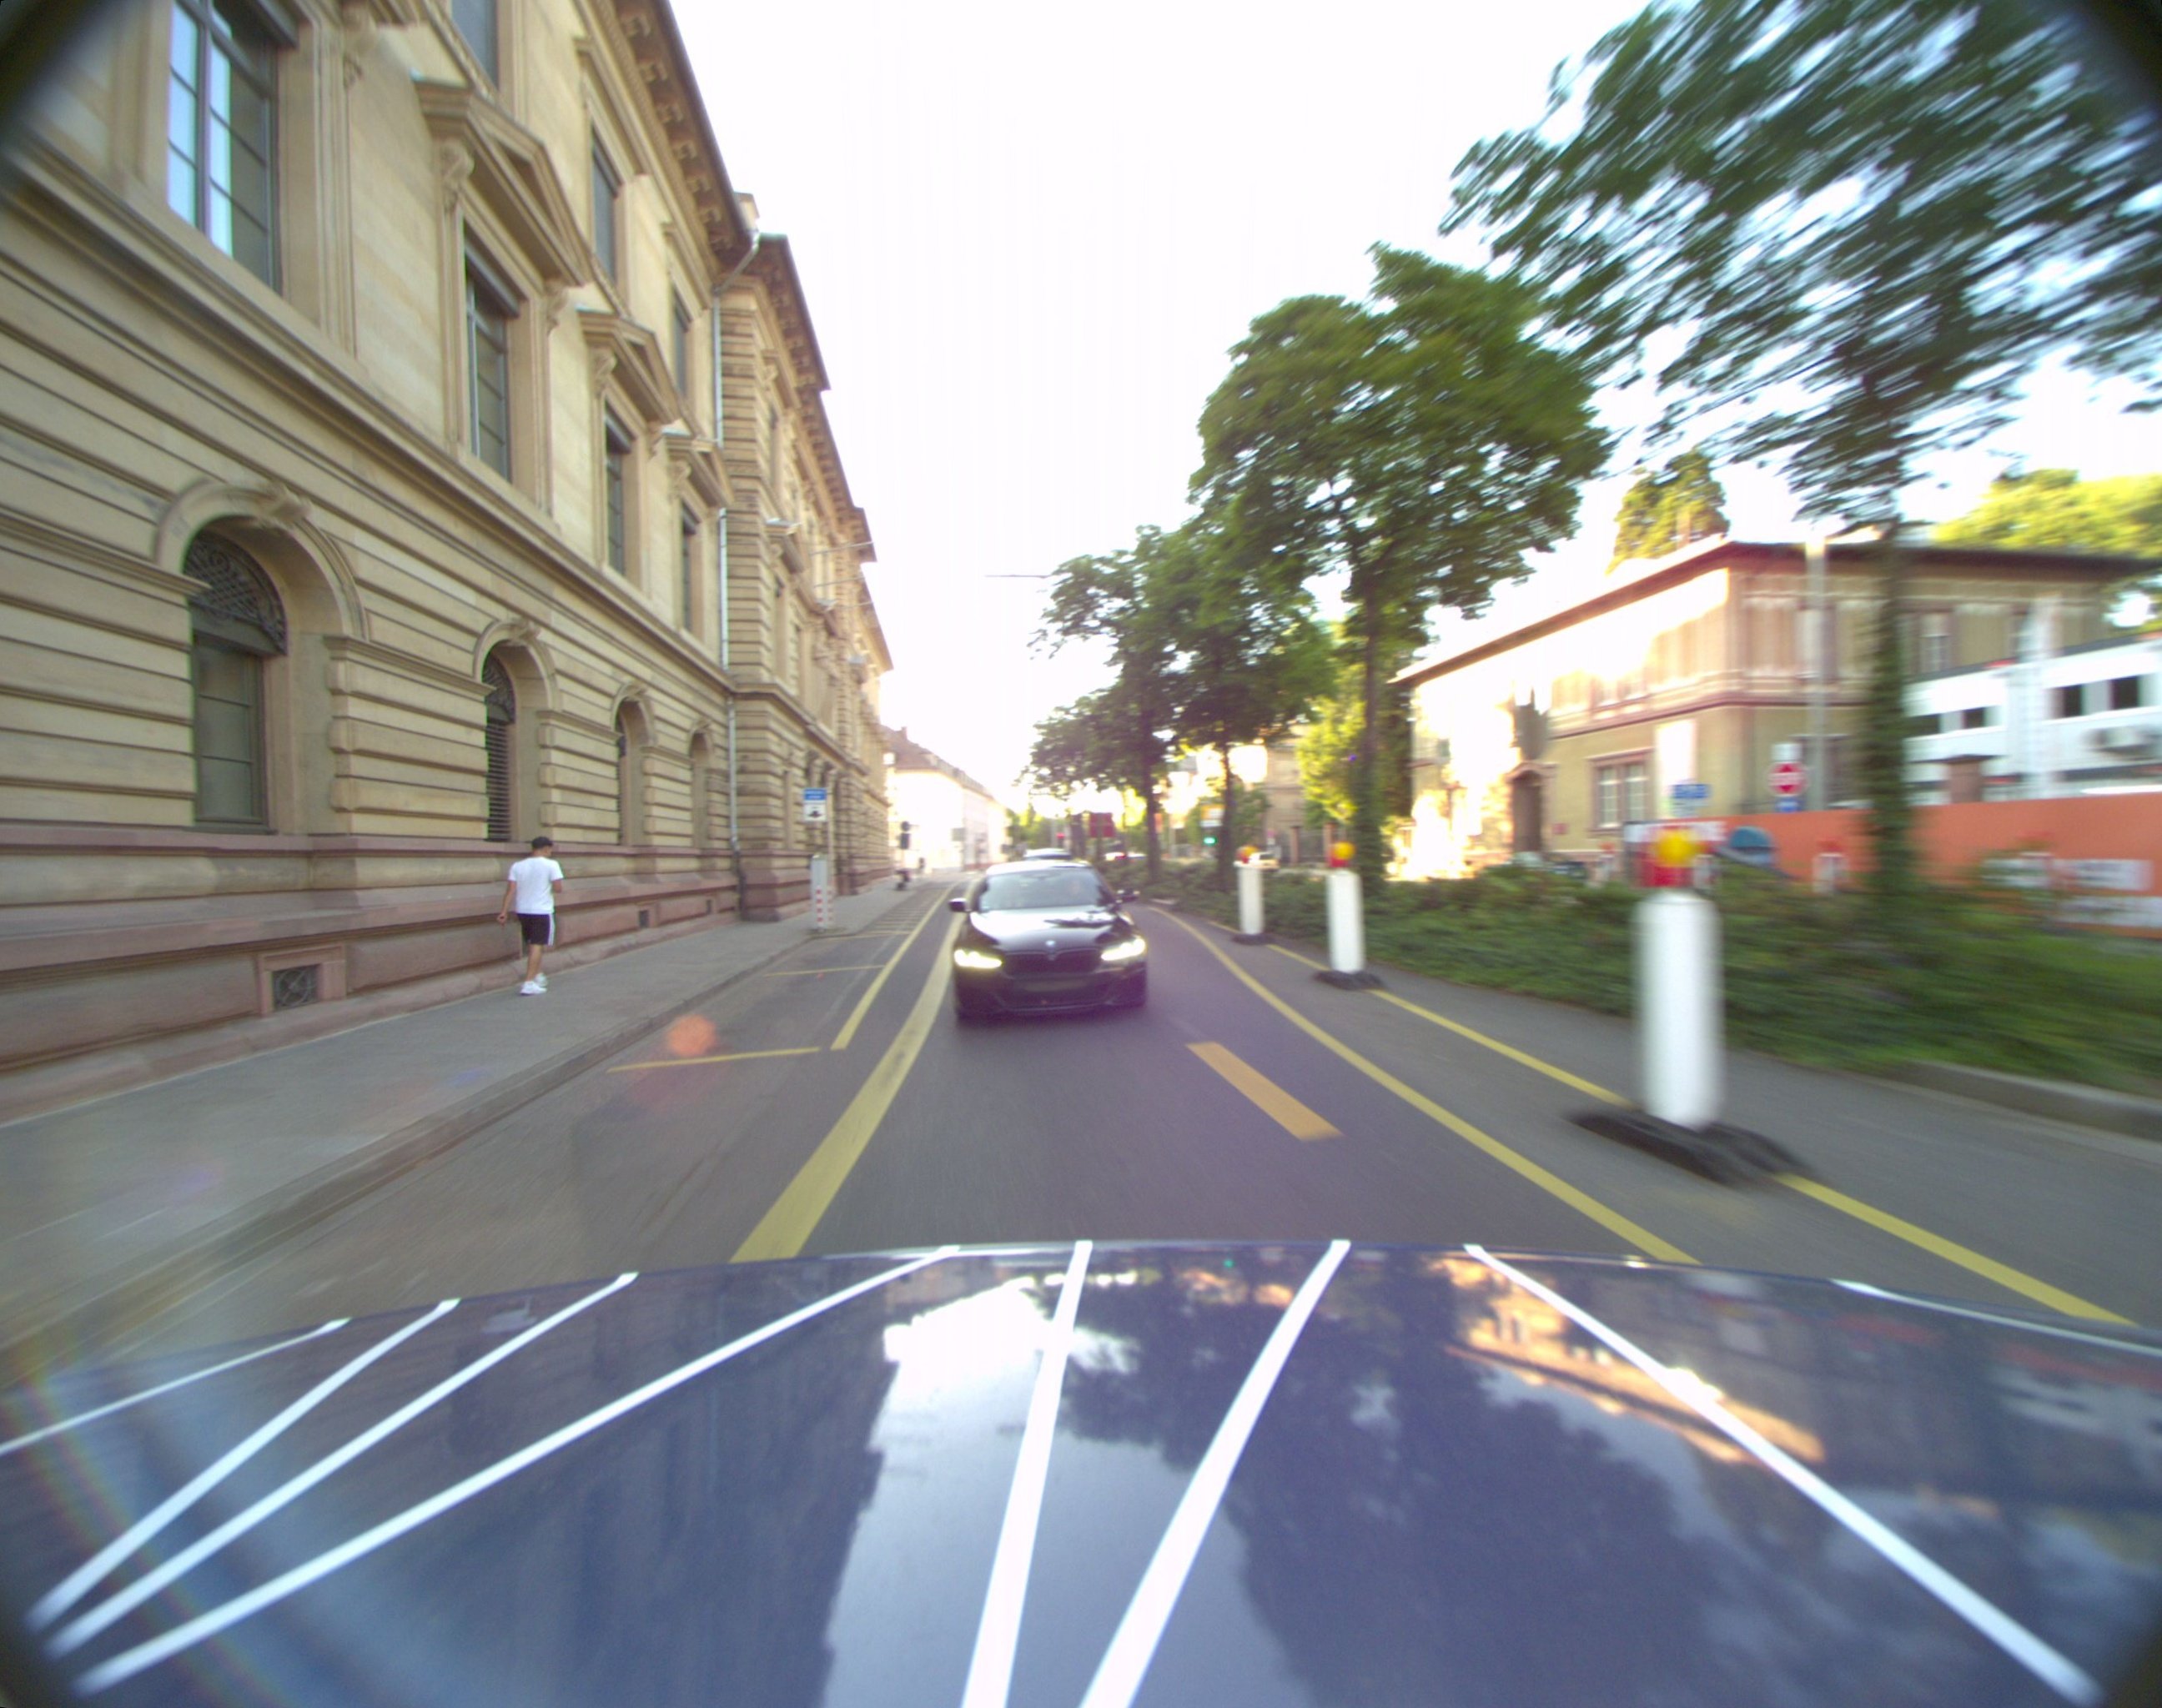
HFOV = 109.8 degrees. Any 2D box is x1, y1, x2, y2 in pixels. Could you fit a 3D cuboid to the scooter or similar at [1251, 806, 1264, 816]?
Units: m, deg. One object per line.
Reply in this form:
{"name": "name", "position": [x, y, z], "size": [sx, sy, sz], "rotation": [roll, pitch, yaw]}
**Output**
{"name": "scooter or similar", "position": [13.973, -3.397, 60.221], "size": [0.680, 0.773, 1.028], "rotation": [-1, 0, -5]}

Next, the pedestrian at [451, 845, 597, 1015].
{"name": "pedestrian", "position": [-6.204, 0.799, 8.532], "size": [0.819, 1.755, 1.037], "rotation": [-3, 0, -3]}

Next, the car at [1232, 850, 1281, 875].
{"name": "car", "position": [11.639, 0.571, 50.637], "size": [1.750, 1.538, 4.367], "rotation": [-3, 0, -7]}

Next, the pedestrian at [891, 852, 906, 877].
{"name": "pedestrian", "position": [-15.136, 0.885, 63.011], "size": [0.786, 2.002, 0.995], "rotation": [-1, 0, 16]}

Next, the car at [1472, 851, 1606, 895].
{"name": "car", "position": [15.154, 0.588, 25.376], "size": [1.685, 1.343, 3.883], "rotation": [0, 0, -10]}

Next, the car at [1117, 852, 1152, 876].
{"name": "car", "position": [3.608, 0.634, 50.399], "size": [1.848, 1.538, 4.122], "rotation": [-1, 0, 10]}

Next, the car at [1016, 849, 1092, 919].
{"name": "car", "position": [-0.769, 0.755, 21.373], "size": [1.839, 1.674, 4.222], "rotation": [-3, 1, -2]}

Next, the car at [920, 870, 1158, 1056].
{"name": "car", "position": [-0.456, 0.968, 8.802], "size": [1.964, 1.378, 4.780], "rotation": [-2, 0, -3]}
